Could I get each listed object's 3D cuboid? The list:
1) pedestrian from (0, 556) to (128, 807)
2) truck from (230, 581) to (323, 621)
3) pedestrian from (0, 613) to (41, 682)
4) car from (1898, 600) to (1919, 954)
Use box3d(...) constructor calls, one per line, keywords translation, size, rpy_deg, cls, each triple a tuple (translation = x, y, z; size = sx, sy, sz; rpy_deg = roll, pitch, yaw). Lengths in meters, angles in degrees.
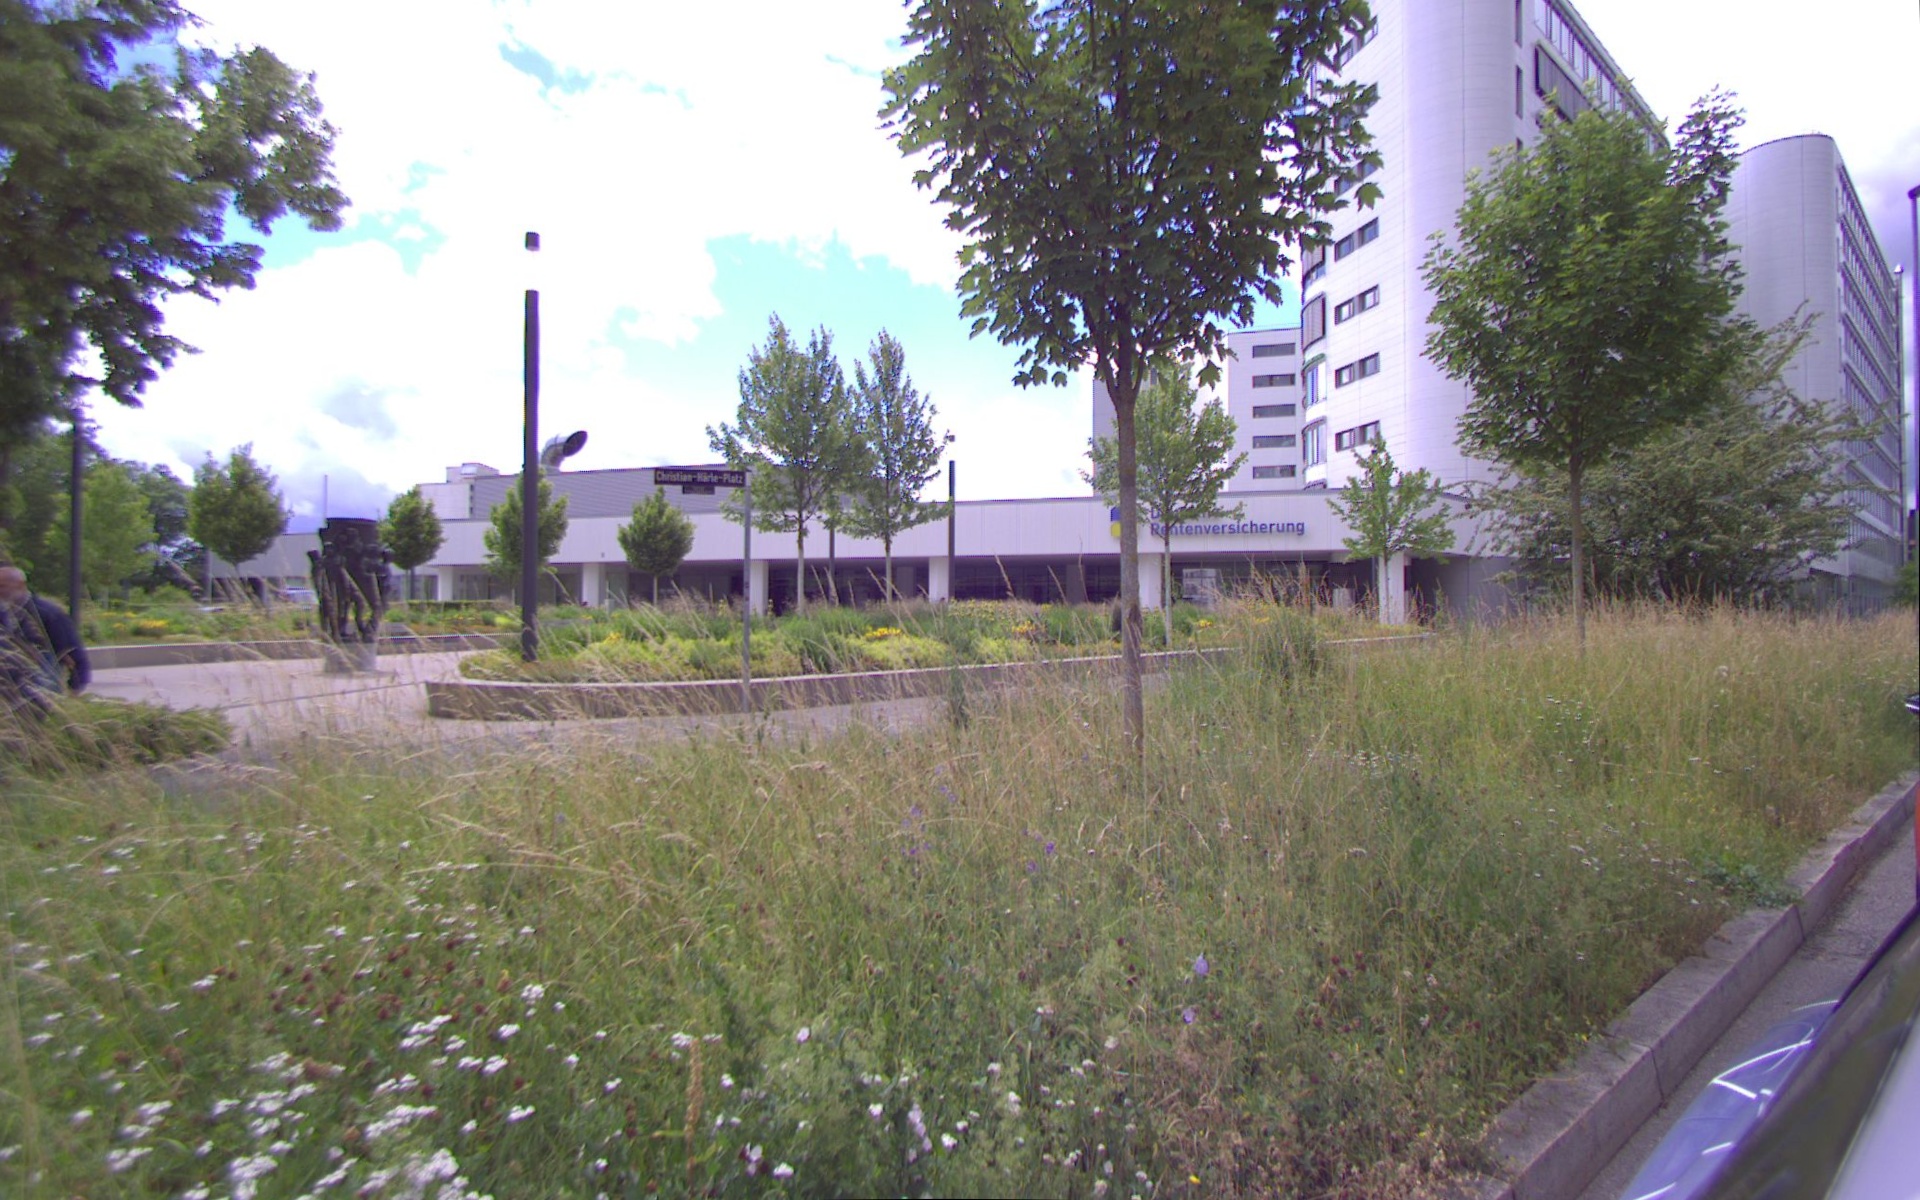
box3d(translation=(-6.524, 0.532, 7.126), size=(0.763, 1.646, 0.759), rpy_deg=(0, 0, 23), cls="pedestrian")
box3d(translation=(-36.175, 0.062, 53.584), size=(3.941, 2.039, 1.991), rpy_deg=(1, 0, 14), cls="truck")
box3d(translation=(-17.444, 0.861, 18.693), size=(0.621, 1.238, 0.620), rpy_deg=(0, 0, -36), cls="pedestrian")
box3d(translation=(5.794, 0.750, 4.663), size=(3.611, 1.434, 1.748), rpy_deg=(0, 1, -41), cls="car")
